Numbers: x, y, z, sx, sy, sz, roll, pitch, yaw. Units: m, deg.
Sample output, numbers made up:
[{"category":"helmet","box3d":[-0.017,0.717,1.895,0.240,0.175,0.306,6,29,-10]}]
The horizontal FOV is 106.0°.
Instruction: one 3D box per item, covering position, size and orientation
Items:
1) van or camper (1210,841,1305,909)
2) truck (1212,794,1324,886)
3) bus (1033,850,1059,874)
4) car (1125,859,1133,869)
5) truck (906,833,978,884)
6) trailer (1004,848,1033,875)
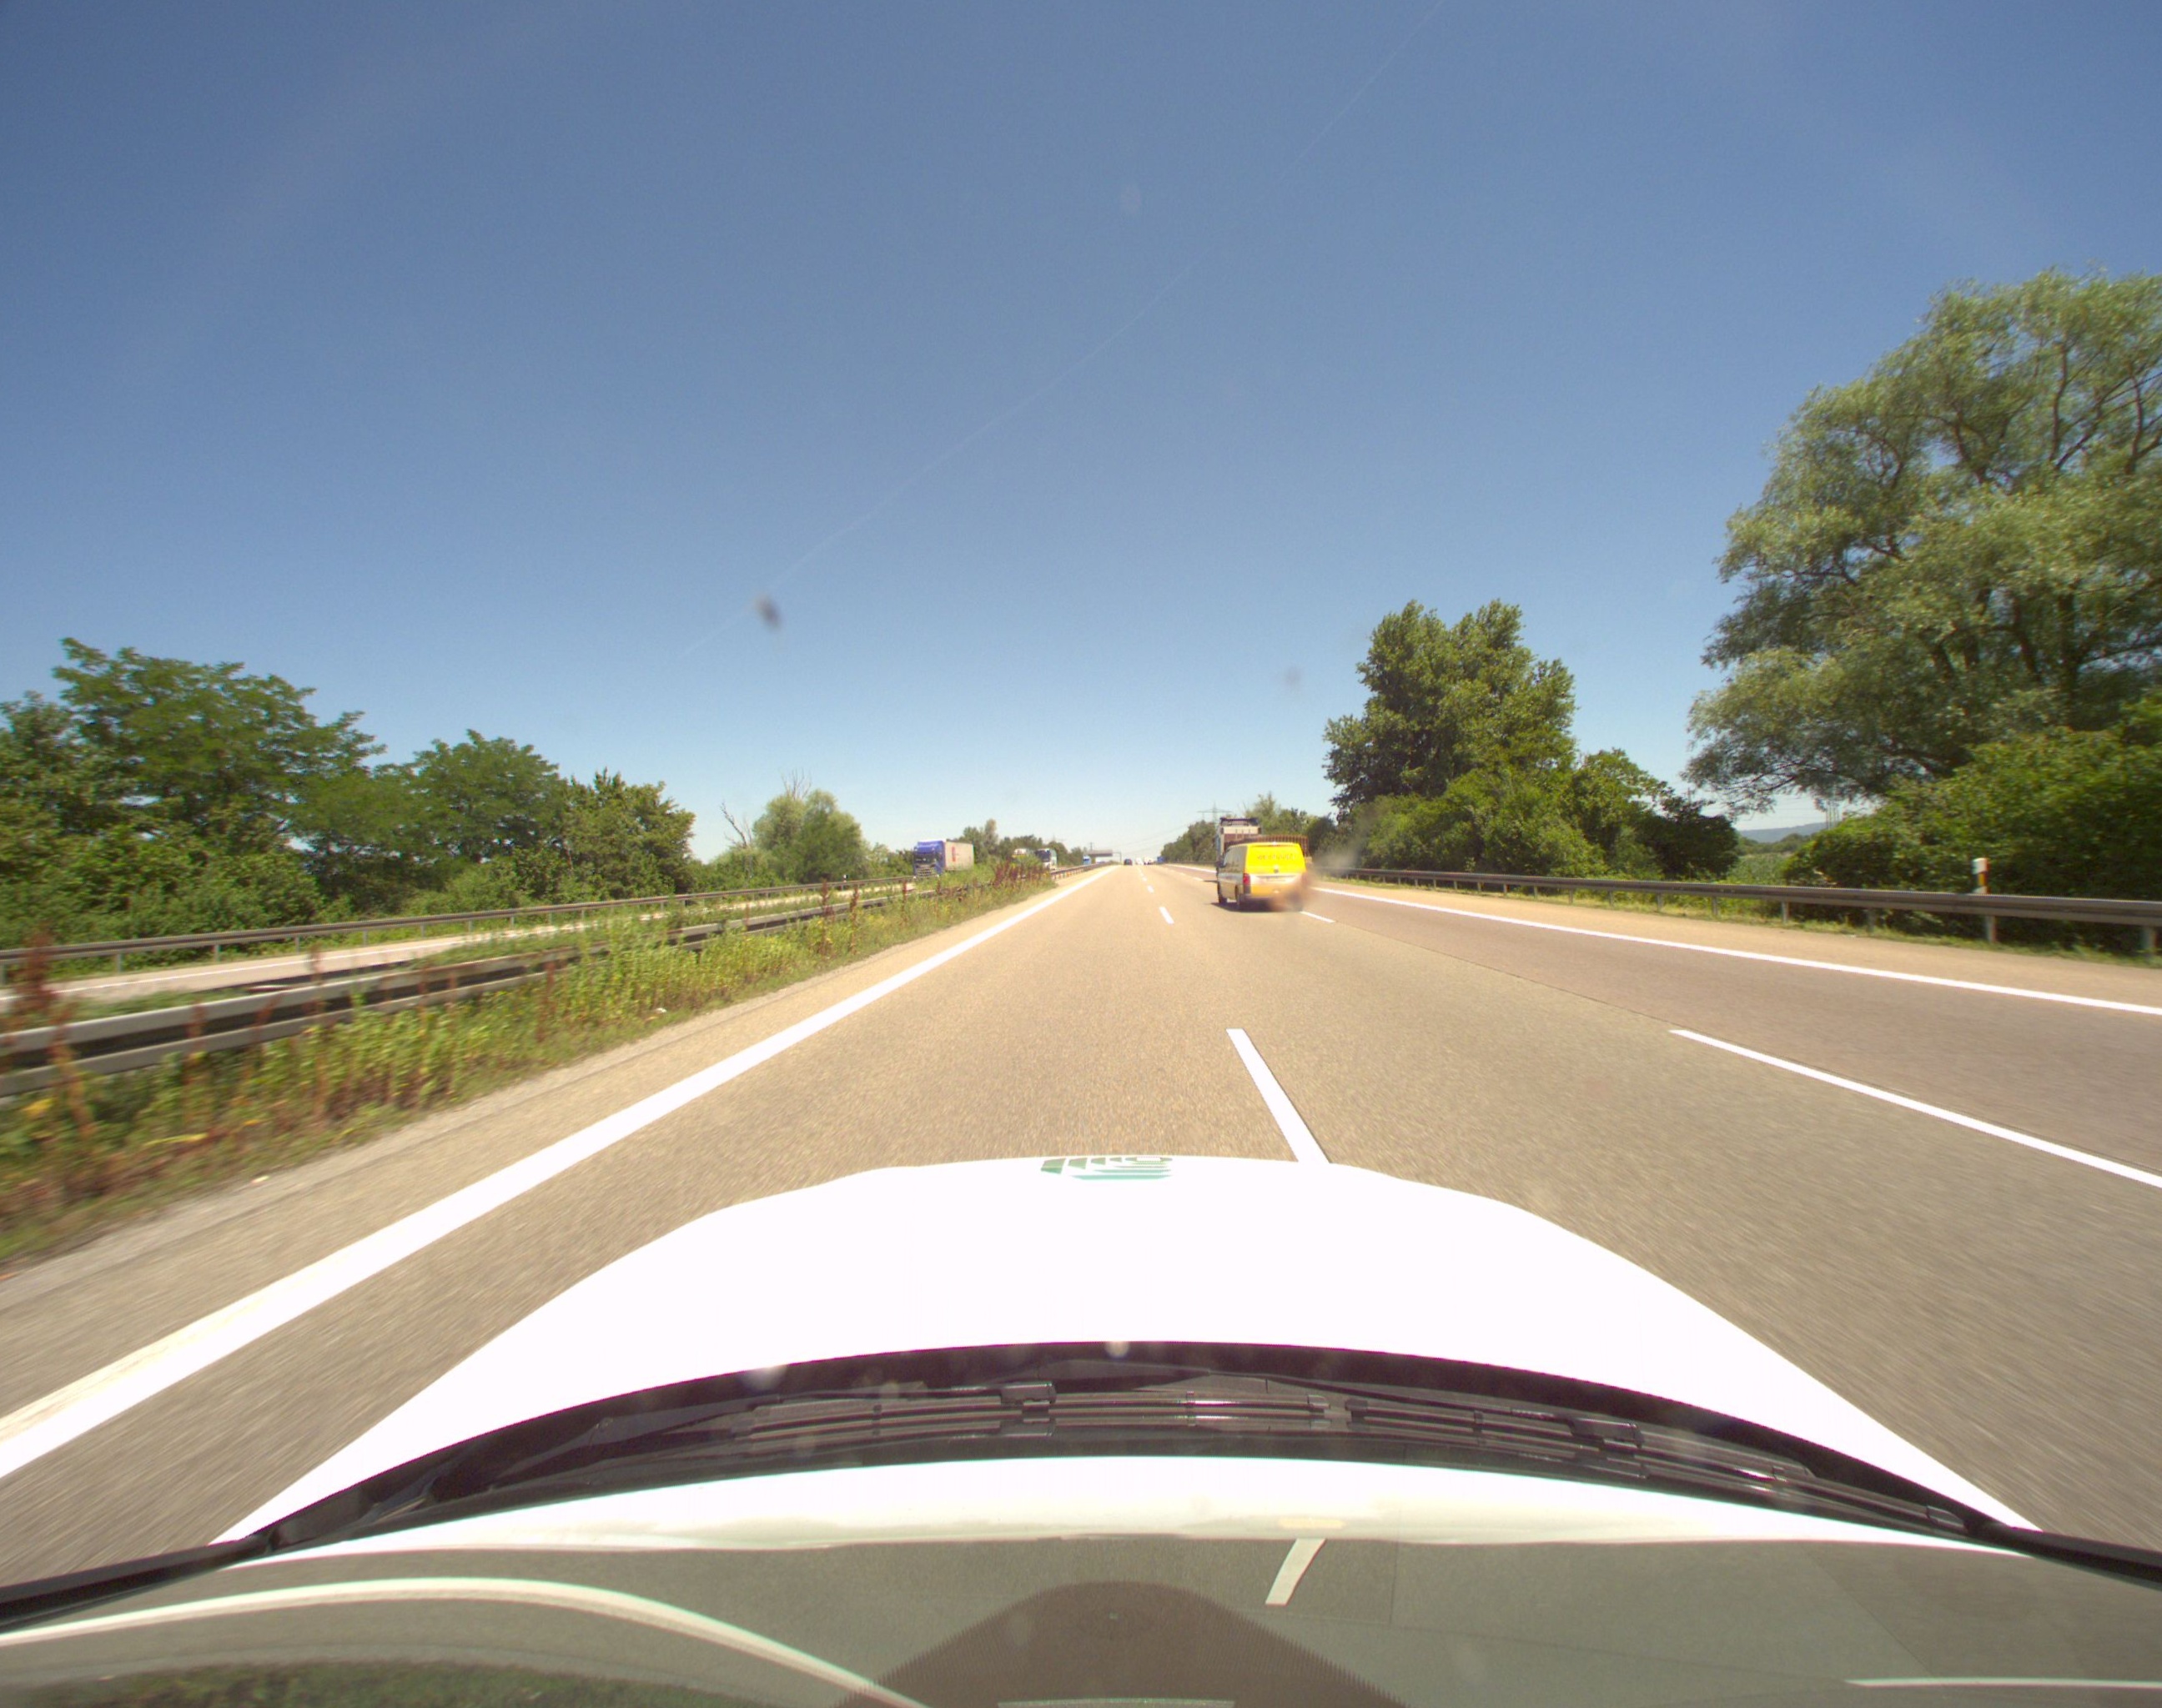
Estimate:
[{"category":"van or camper","box3d":[5.383,0.595,25.530,1.986,1.909,4.972,-1,0,1]},{"category":"truck","box3d":[9.444,-0.464,43.573,2.957,3.957,16.624,-1,-1,3]},{"category":"bus","box3d":[-5.650,1.337,134.203,2.683,3.583,12.804,-4,0,3]},{"category":"car","box3d":[10.370,2.135,176.432,1.783,2.014,3.891,-1,-1,4]},{"category":"truck","box3d":[-13.515,0.477,81.513,2.943,4.342,17.484,-5,-1,3]},{"category":"trailer","box3d":[-10.027,1.247,131.298,2.909,3.968,11.660,-4,-1,3]}]
